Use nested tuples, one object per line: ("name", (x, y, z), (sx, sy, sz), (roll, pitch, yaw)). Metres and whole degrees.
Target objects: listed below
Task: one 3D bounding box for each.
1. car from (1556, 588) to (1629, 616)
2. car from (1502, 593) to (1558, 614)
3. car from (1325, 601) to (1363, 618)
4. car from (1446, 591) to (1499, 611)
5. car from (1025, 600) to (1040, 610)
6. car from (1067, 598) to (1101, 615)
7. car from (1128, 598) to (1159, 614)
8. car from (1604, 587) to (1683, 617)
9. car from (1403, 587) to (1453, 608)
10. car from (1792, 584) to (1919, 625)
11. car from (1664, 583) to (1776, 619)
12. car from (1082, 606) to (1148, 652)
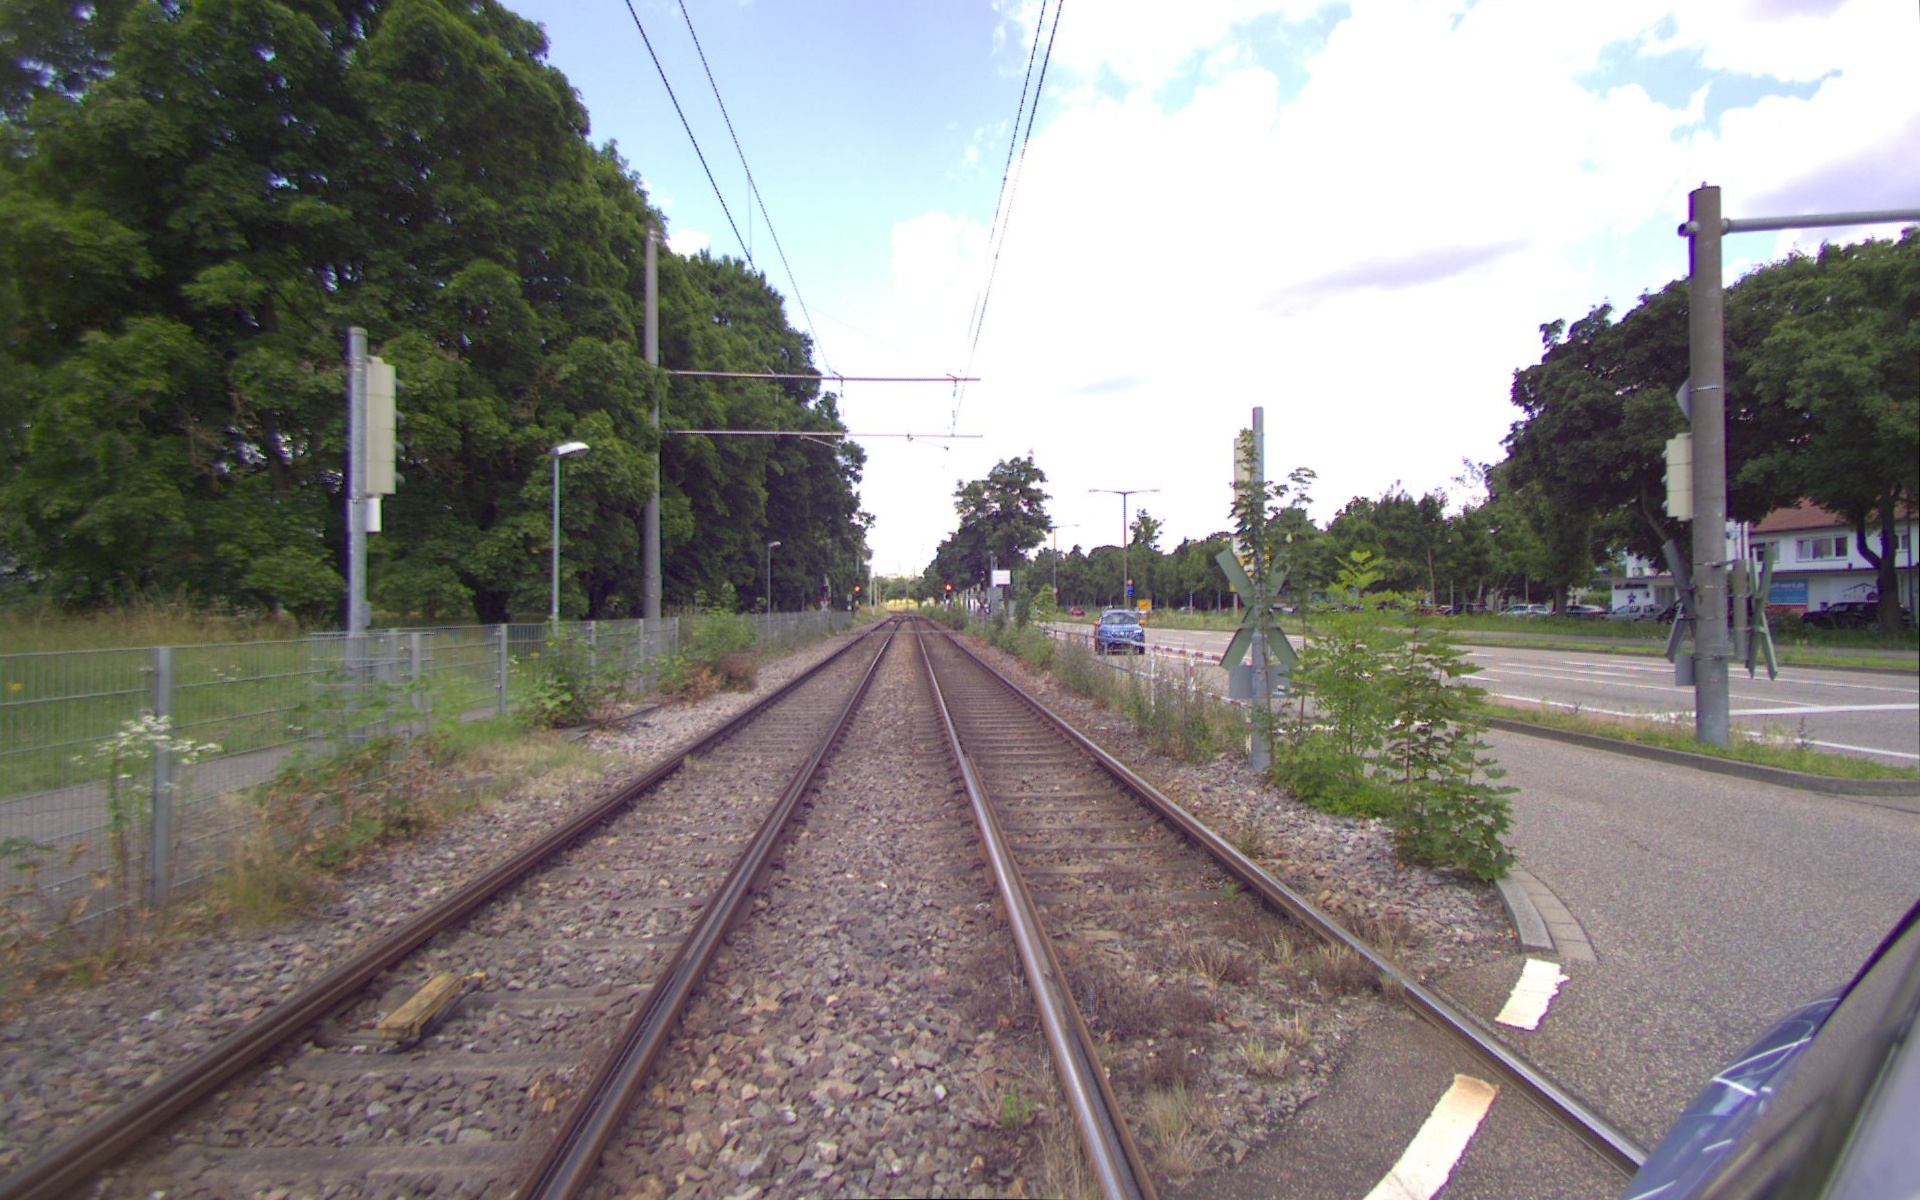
("car", (38.418, 0.142, 61.588), (1.729, 1.608, 4.024), (0, 0, -2))
("car", (37.859, 0.237, 67.276), (1.595, 1.348, 3.477), (0, 0, -2))
("car", (36.844, 0.890, 97.176), (1.961, 1.608, 4.024), (0, 0, -2))
("car", (37.414, 0.094, 73.972), (1.697, 1.429, 3.867), (0, 0, -2))
("car", (10.827, 0.698, 151.444), (1.584, 1.463, 3.597), (-2, 0, -5))
("car", (15.519, 0.854, 126.538), (3.920, 2.039, 2.002), (0, -1, -5))
("car", (17.266, 0.603, 95.503), (1.769, 1.450, 4.500), (0, 0, -5))
("car", (38.707, 0.111, 57.405), (1.885, 1.608, 3.667), (0, 0, -2))
("car", (37.101, -0.175, 80.345), (1.961, 1.608, 4.024), (0, 0, -2))
("car", (39.877, 0.187, 44.885), (1.775, 1.678, 4.372), (-2, 0, -13))
("car", (38.773, 0.049, 51.830), (1.852, 1.732, 4.931), (0, 0, -2))
("car", (5.260, 0.942, 34.747), (1.574, 1.483, 3.704), (0, 0, -2))
